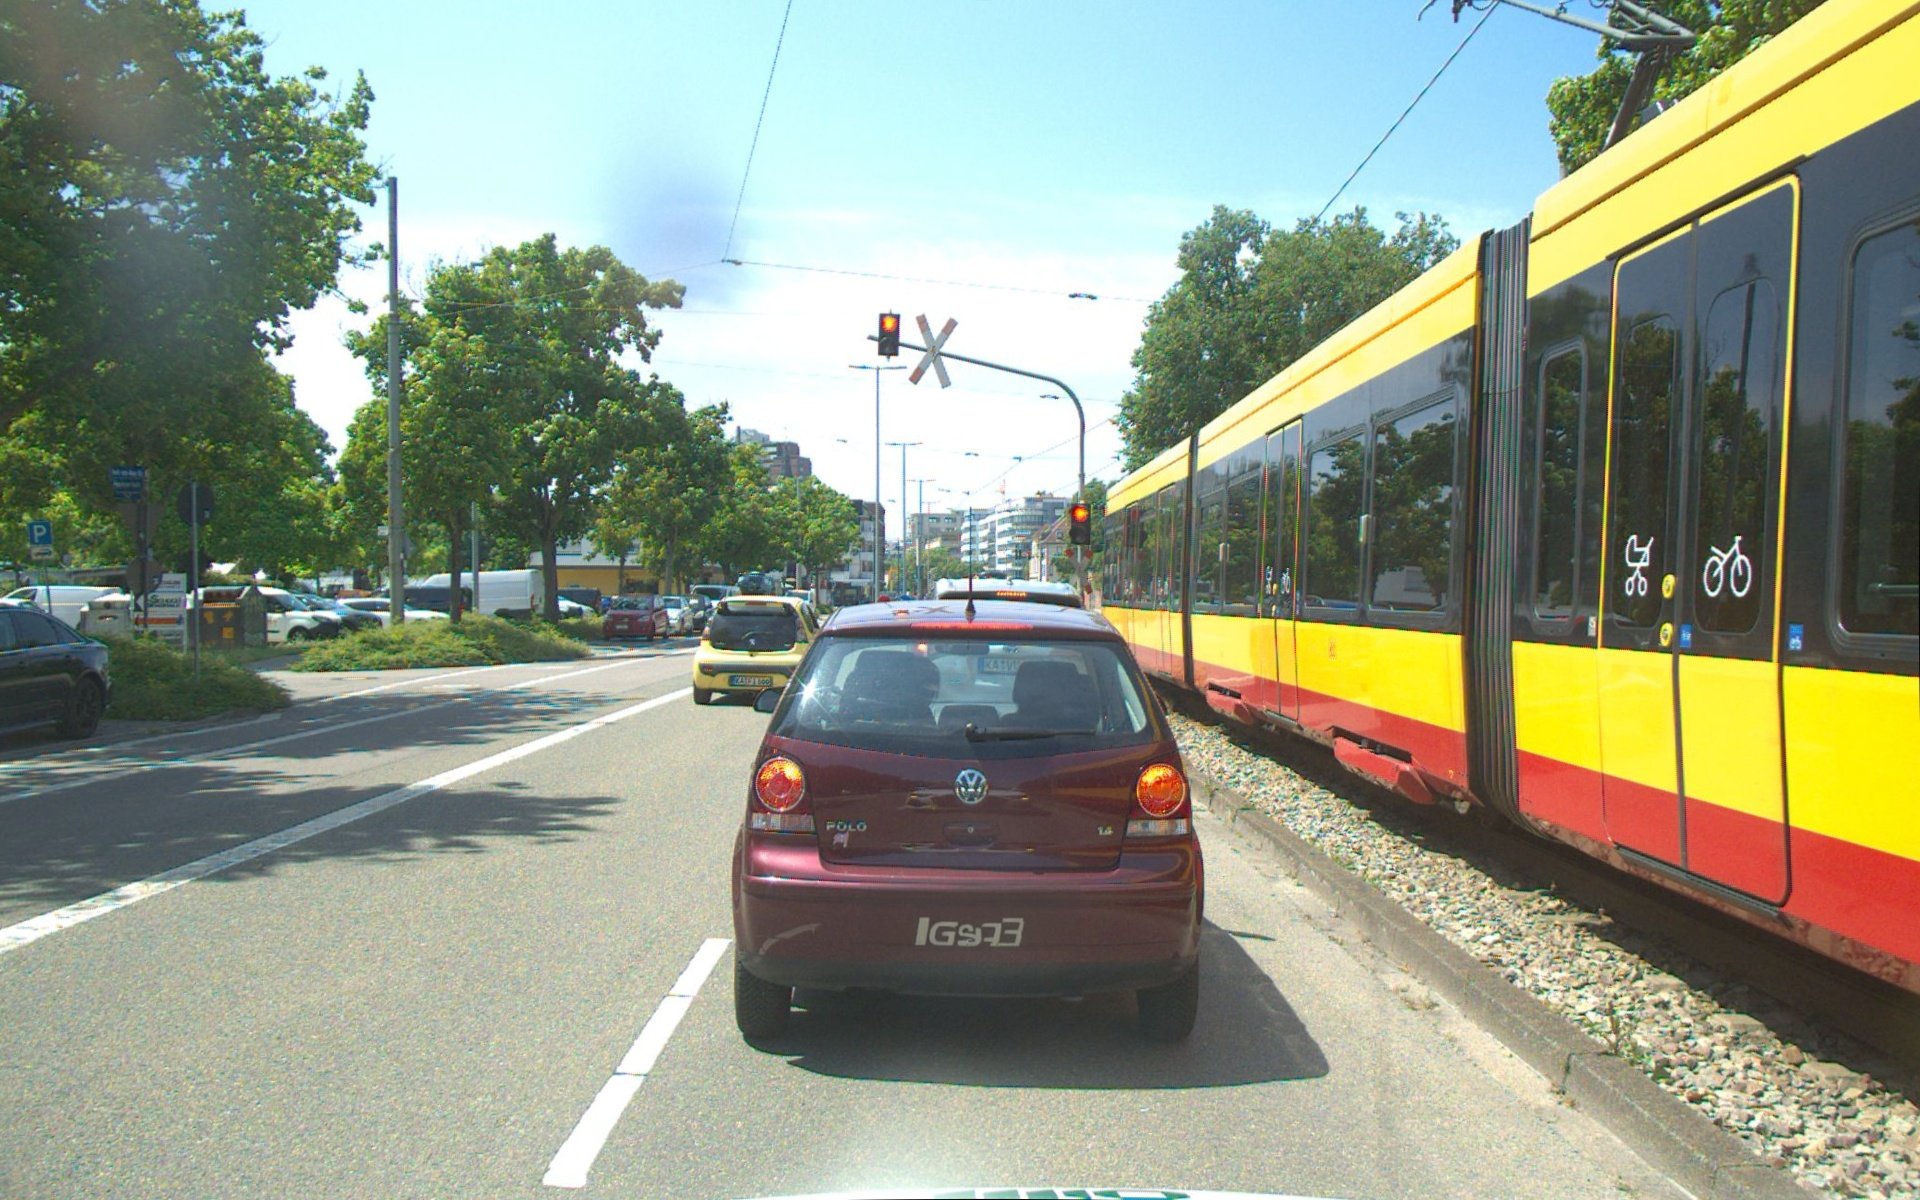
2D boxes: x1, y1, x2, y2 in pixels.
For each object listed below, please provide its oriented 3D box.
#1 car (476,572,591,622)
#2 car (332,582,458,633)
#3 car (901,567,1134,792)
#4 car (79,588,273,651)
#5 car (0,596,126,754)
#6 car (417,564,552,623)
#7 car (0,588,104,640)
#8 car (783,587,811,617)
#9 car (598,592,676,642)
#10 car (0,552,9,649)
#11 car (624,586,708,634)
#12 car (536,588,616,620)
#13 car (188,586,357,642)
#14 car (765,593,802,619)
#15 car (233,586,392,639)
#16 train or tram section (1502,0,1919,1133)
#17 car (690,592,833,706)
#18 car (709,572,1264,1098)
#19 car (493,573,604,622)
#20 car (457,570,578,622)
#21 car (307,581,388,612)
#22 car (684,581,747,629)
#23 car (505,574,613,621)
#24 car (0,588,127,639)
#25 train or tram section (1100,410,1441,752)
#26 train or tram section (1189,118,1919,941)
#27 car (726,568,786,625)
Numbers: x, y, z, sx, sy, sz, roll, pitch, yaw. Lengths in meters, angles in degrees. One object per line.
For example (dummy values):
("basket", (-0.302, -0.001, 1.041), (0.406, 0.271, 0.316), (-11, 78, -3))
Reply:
("car", (-21.073, -0.151, 81.928), (4.993, 2.283, 2.378), (2, -1, 0))
("car", (-20.512, 0.265, 60.168), (3.906, 1.776, 1.998), (-1, 0, -2))
("car", (0.388, 0.595, 14.625), (1.741, 1.676, 3.999), (2, 0, -2))
("car", (-20.934, 0.496, 44.319), (4.256, 1.612, 1.912), (-1, 0, -3))
("car", (-10.303, 0.731, 16.471), (1.782, 1.502, 4.448), (2, 0, -1))
("car", (-20.252, -0.259, 70.666), (4.993, 2.283, 2.378), (2, -1, 0))
("car", (-32.460, 0.478, 57.942), (3.913, 1.682, 1.812), (2, -1, -9))
("car", (-10.594, 0.130, 107.332), (1.741, 1.860, 3.995), (2, -1, -6))
("car", (-10.544, 0.541, 54.218), (1.628, 1.523, 4.000), (2, -1, 1))
("car", (-33.106, -0.104, 50.378), (6.714, 3.017, 2.363), (2, -1, -2))
("car", (-10.739, 0.381, 60.765), (1.934, 1.629, 4.560), (2, -1, 4))
("car", (-21.200, 0.226, 91.398), (3.938, 1.645, 1.816), (2, -1, 0))
("car", (-20.454, 0.400, 49.303), (4.251, 1.612, 1.914), (-1, 0, 5))
("car", (-10.764, 0.390, 101.252), (1.581, 1.466, 4.001), (2, -1, 3))
("car", (-20.371, 0.379, 52.138), (4.251, 1.612, 1.914), (-1, 0, 5))
("train or tram section", (4.016, -0.318, 1.504), (2.685, 3.672, 12.869), (2, 0, 0))
("car", (-2.721, 0.630, 23.335), (1.656, 1.435, 3.514), (2, 0, -2))
("car", (0.033, 0.684, 6.895), (1.638, 1.548, 3.999), (0, 0, -2))
("car", (-20.966, -0.126, 84.404), (4.993, 2.283, 2.378), (2, -1, 0))
("car", (-21.019, -0.177, 78.742), (4.993, 2.283, 2.378), (2, -1, 0))
("car", (-35.328, -0.212, 95.426), (3.939, 1.645, 1.816), (2, -1, -2))
("car", (-10.452, 0.238, 71.008), (1.746, 1.914, 4.787), (2, -1, 2))
("car", (-21.074, -0.106, 87.081), (4.993, 2.283, 2.378), (2, -1, 0))
("car", (-32.836, 0.486, 60.345), (3.913, 1.682, 1.812), (2, -1, -9))
("train or tram section", (3.885, -0.253, 23.669), (2.685, 3.672, 10.949), (2, 0, 0))
("train or tram section", (3.974, -0.343, 12.974), (2.685, 3.672, 10.949), (2, 0, 0))
("car", (-10.309, -0.139, 84.055), (2.313, 2.739, 5.307), (2, -1, 0))
